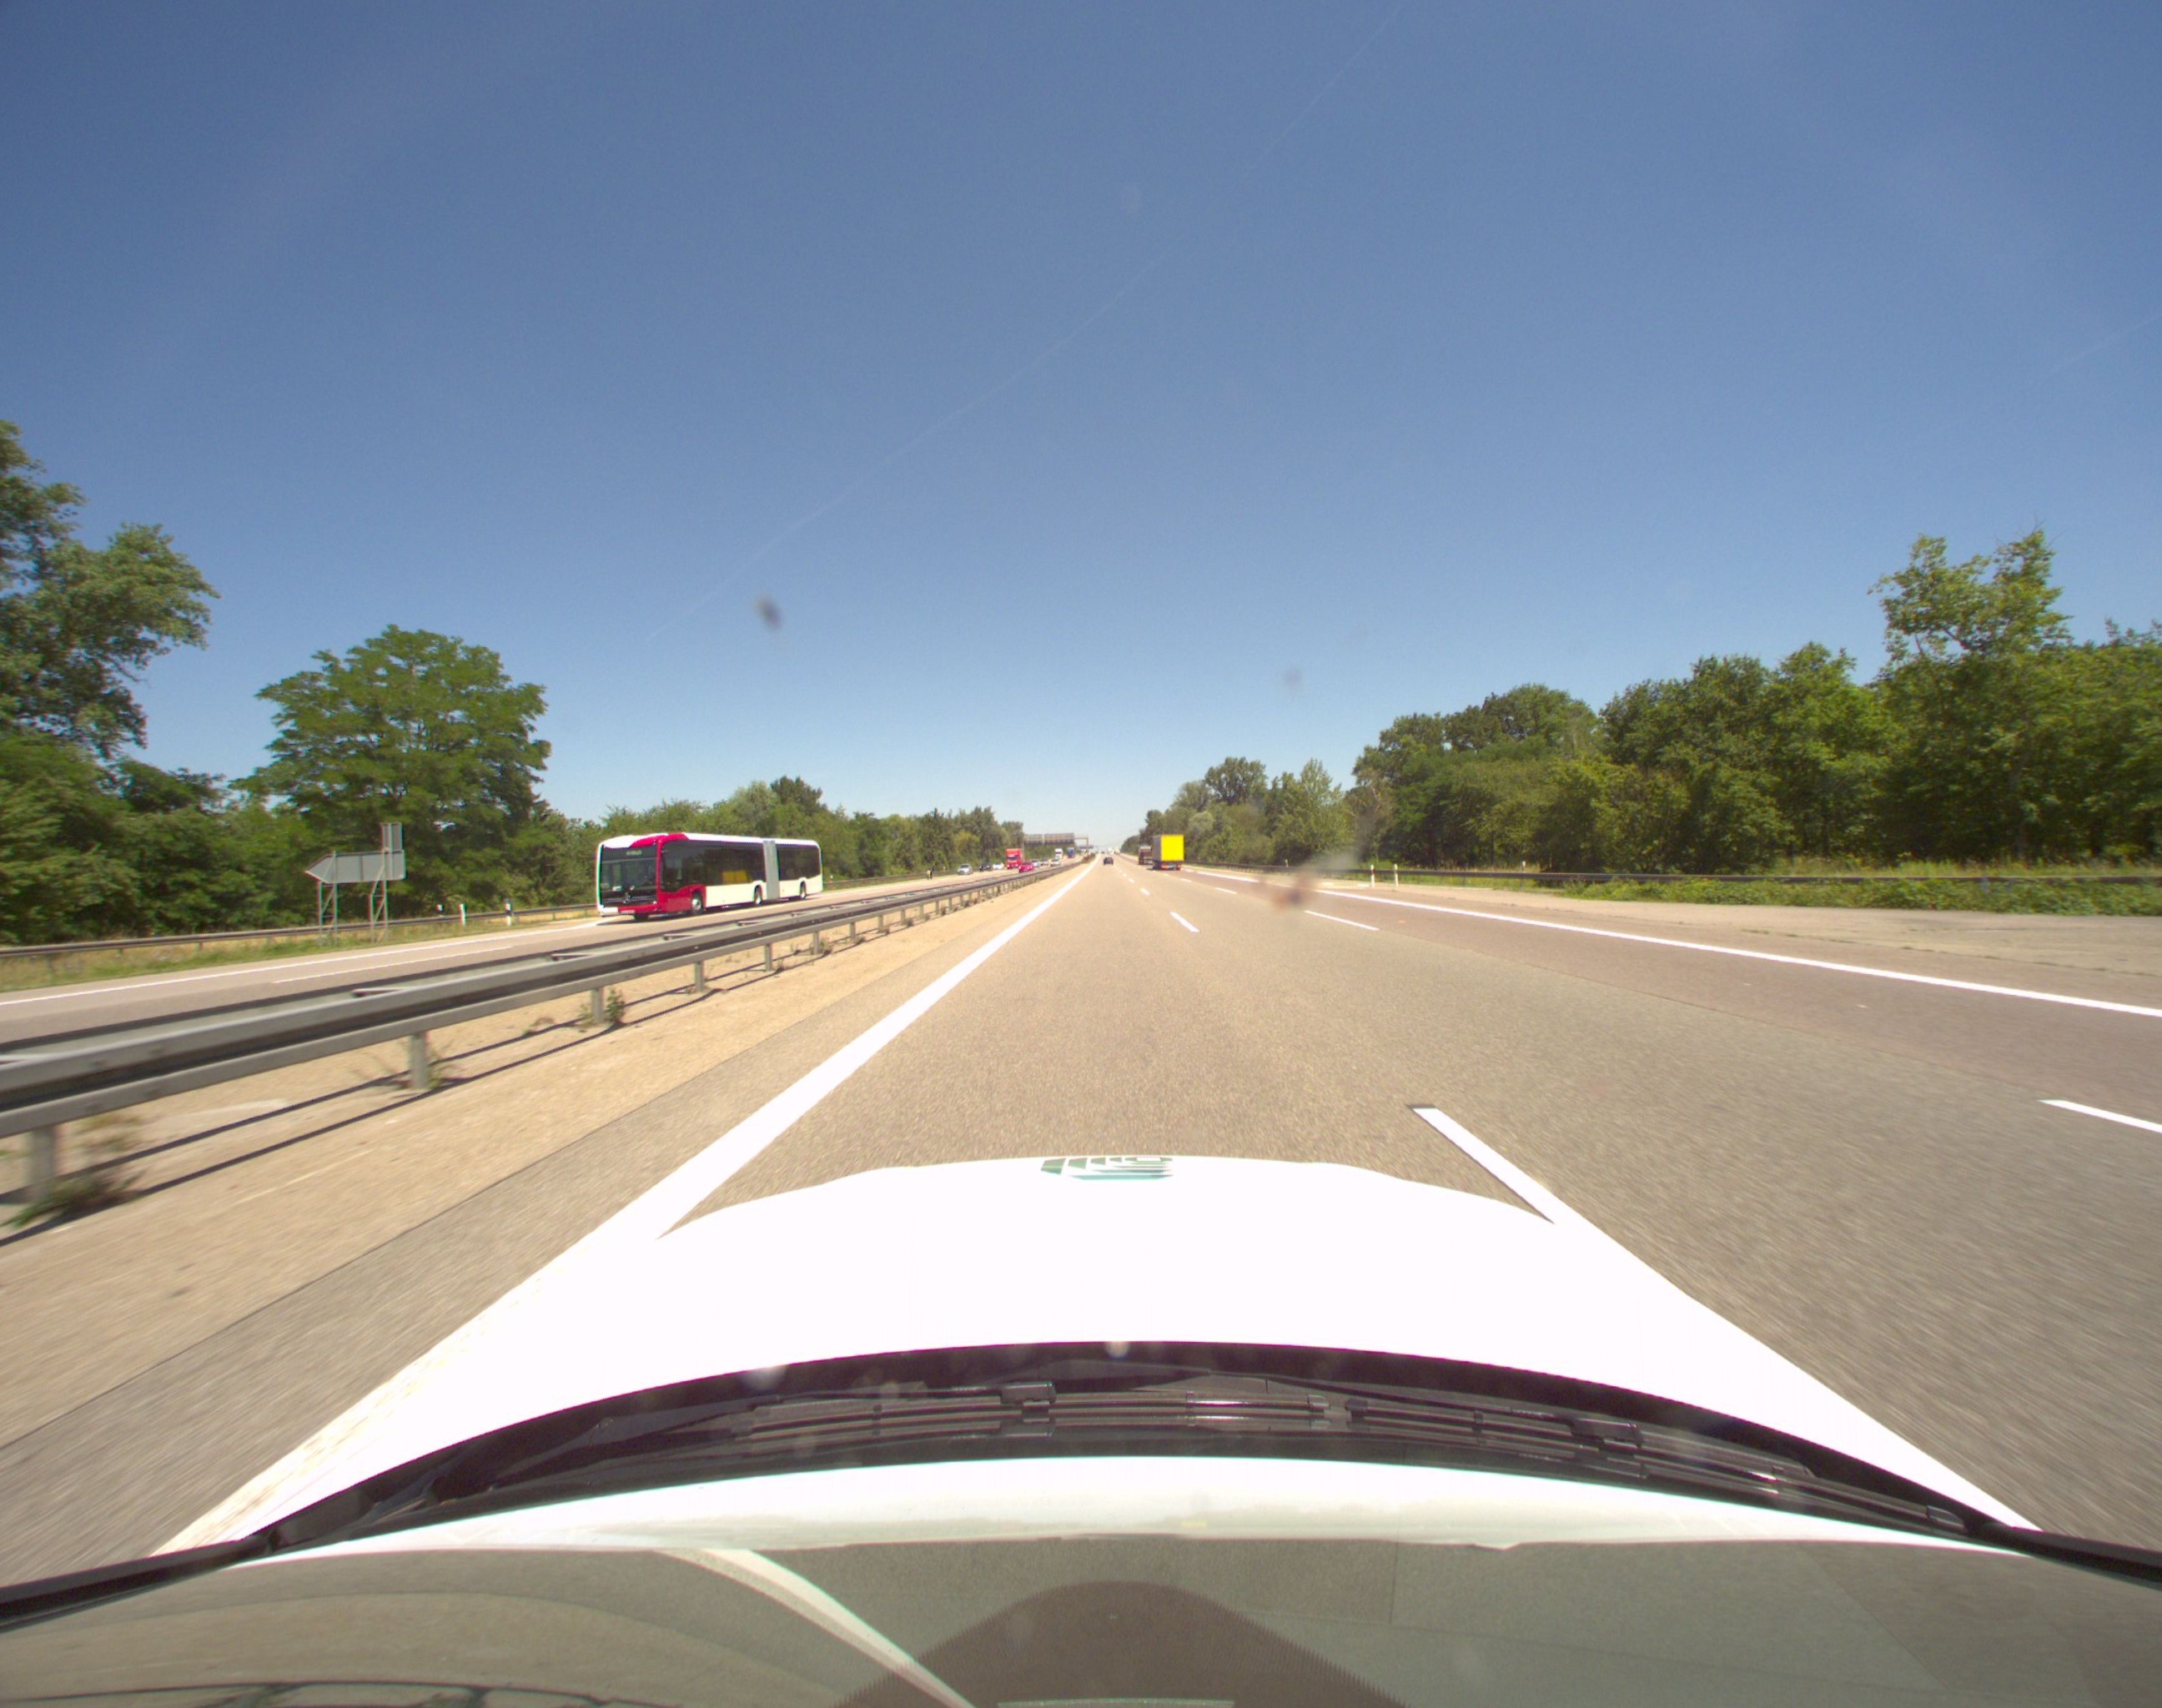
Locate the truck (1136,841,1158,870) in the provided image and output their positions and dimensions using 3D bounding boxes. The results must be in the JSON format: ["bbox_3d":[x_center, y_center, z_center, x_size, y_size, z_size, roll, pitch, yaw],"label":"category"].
[{"bbox_3d":[11.883,0.338,148.326,3.354,4.881,15.094,-1,0,2],"label":"truck"}]

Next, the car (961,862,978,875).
[{"bbox_3d":[-16.532,2.107,121.006,1.802,1.772,4.001,-2,0,2],"label":"car"}]

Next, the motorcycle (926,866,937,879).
[{"bbox_3d":[-18.707,2.297,101.859,0.612,1.640,2.841,-1,0,6],"label":"motorcycle"}]

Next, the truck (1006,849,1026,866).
[{"bbox_3d":[-12.436,0.665,157.056,2.588,3.212,12.129,-1,0,2],"label":"truck"}]

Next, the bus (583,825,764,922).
[{"bbox_3d":[-16.672,0.753,34.294,2.753,3.447,8.935,-2,0,2],"label":"bus"}]

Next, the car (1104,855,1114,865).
[{"bbox_3d":[5.179,1.128,150.170,1.820,1.706,4.001,-1,0,1],"label":"car"}]

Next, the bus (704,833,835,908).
[{"bbox_3d":[-16.371,0.814,43.872,2.753,3.447,10.149,-2,0,2],"label":"bus"}]

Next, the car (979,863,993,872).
[{"bbox_3d":[-16.907,2.368,145.484,1.802,1.504,4.001,-2,0,2],"label":"car"}]

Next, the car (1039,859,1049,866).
[{"bbox_3d":[-8.123,1.865,178.444,1.802,1.504,4.001,-2,0,2],"label":"car"}]

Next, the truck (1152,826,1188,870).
[{"bbox_3d":[10.602,-0.651,98.928,3.363,4.881,15.094,-1,0,2],"label":"truck"}]

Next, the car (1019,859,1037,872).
[{"bbox_3d":[-6.626,1.428,101.282,1.802,1.504,4.001,-2,0,2],"label":"car"}]

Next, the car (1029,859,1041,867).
[{"bbox_3d":[-8.462,1.678,151.001,1.802,1.504,4.001,-2,0,2],"label":"car"}]

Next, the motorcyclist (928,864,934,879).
[{"bbox_3d":[-18.726,2.156,101.747,0.600,1.871,0.621,-1,-1,6],"label":"motorcyclist"}]

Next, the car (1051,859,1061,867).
[{"bbox_3d":[-4.885,1.698,159.588,1.802,1.504,4.001,-2,0,2],"label":"car"}]
